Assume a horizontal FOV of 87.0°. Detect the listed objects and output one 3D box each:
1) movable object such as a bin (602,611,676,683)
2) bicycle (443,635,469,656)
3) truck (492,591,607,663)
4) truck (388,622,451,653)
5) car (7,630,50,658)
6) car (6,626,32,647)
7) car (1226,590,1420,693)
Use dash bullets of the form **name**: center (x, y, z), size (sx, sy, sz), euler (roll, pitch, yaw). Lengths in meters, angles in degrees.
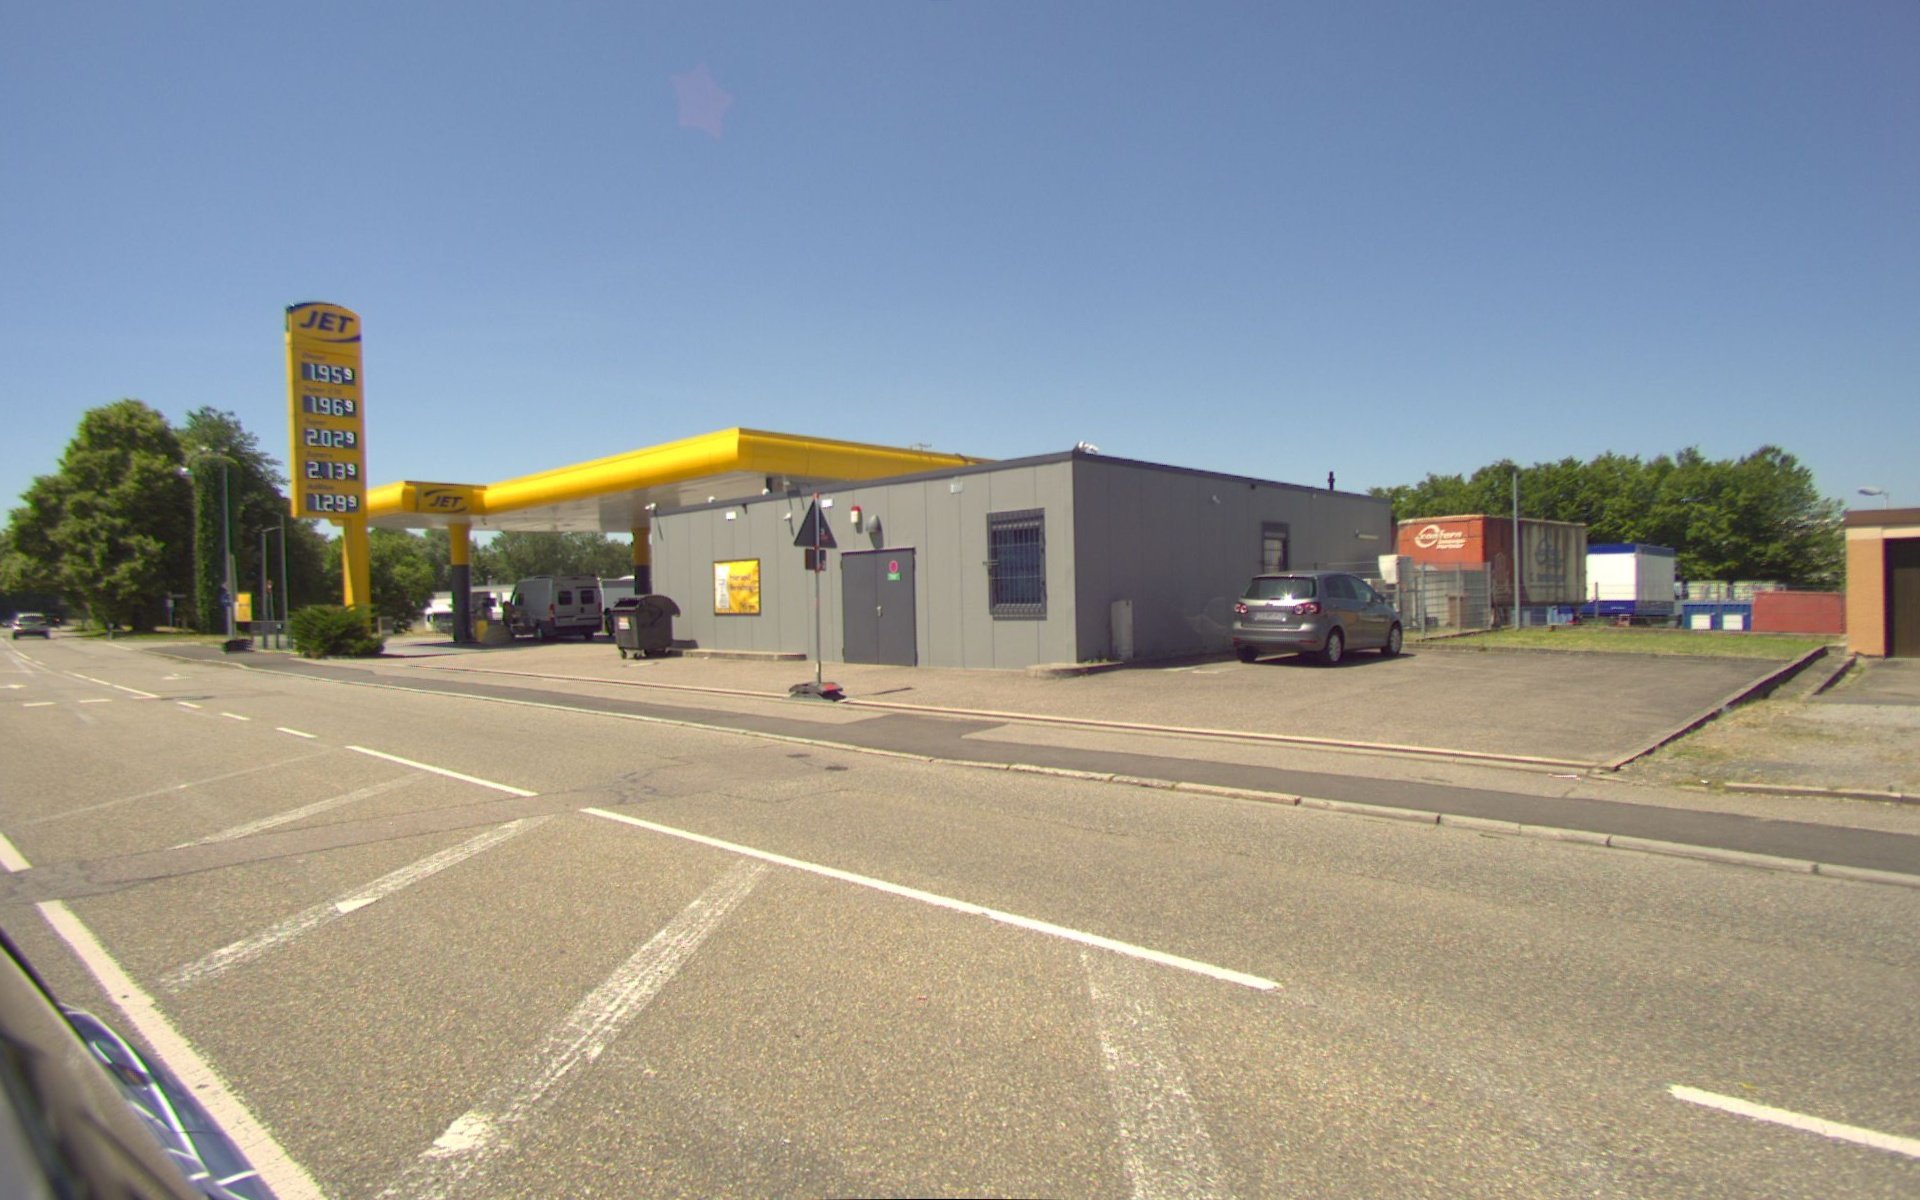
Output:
- **movable object such as a bin**: center (-7.438, 1.090, 23.424), size (1.428, 1.528, 0.942), euler (-3, 3, 42)
- **bicycle**: center (-33.933, 3.084, 68.207), size (1.517, 1.359, 0.396), euler (1, -1, -38)
- **truck**: center (-16.438, 0.997, 40.279), size (2.206, 2.618, 6.742), euler (-1, 0, -40)
- **truck**: center (-53.657, 3.716, 100.323), size (2.654, 2.818, 10.164), euler (-1, -1, -45)
- **car**: center (-61.025, 2.857, 66.363), size (1.944, 1.685, 4.255), euler (0, -1, -41)
- **car**: center (-100.658, 3.915, 108.247), size (1.775, 1.786, 4.366), euler (7, -11, -44)
- **car**: center (6.487, 0.645, 17.867), size (1.755, 1.596, 3.942), euler (-1, 0, 44)
